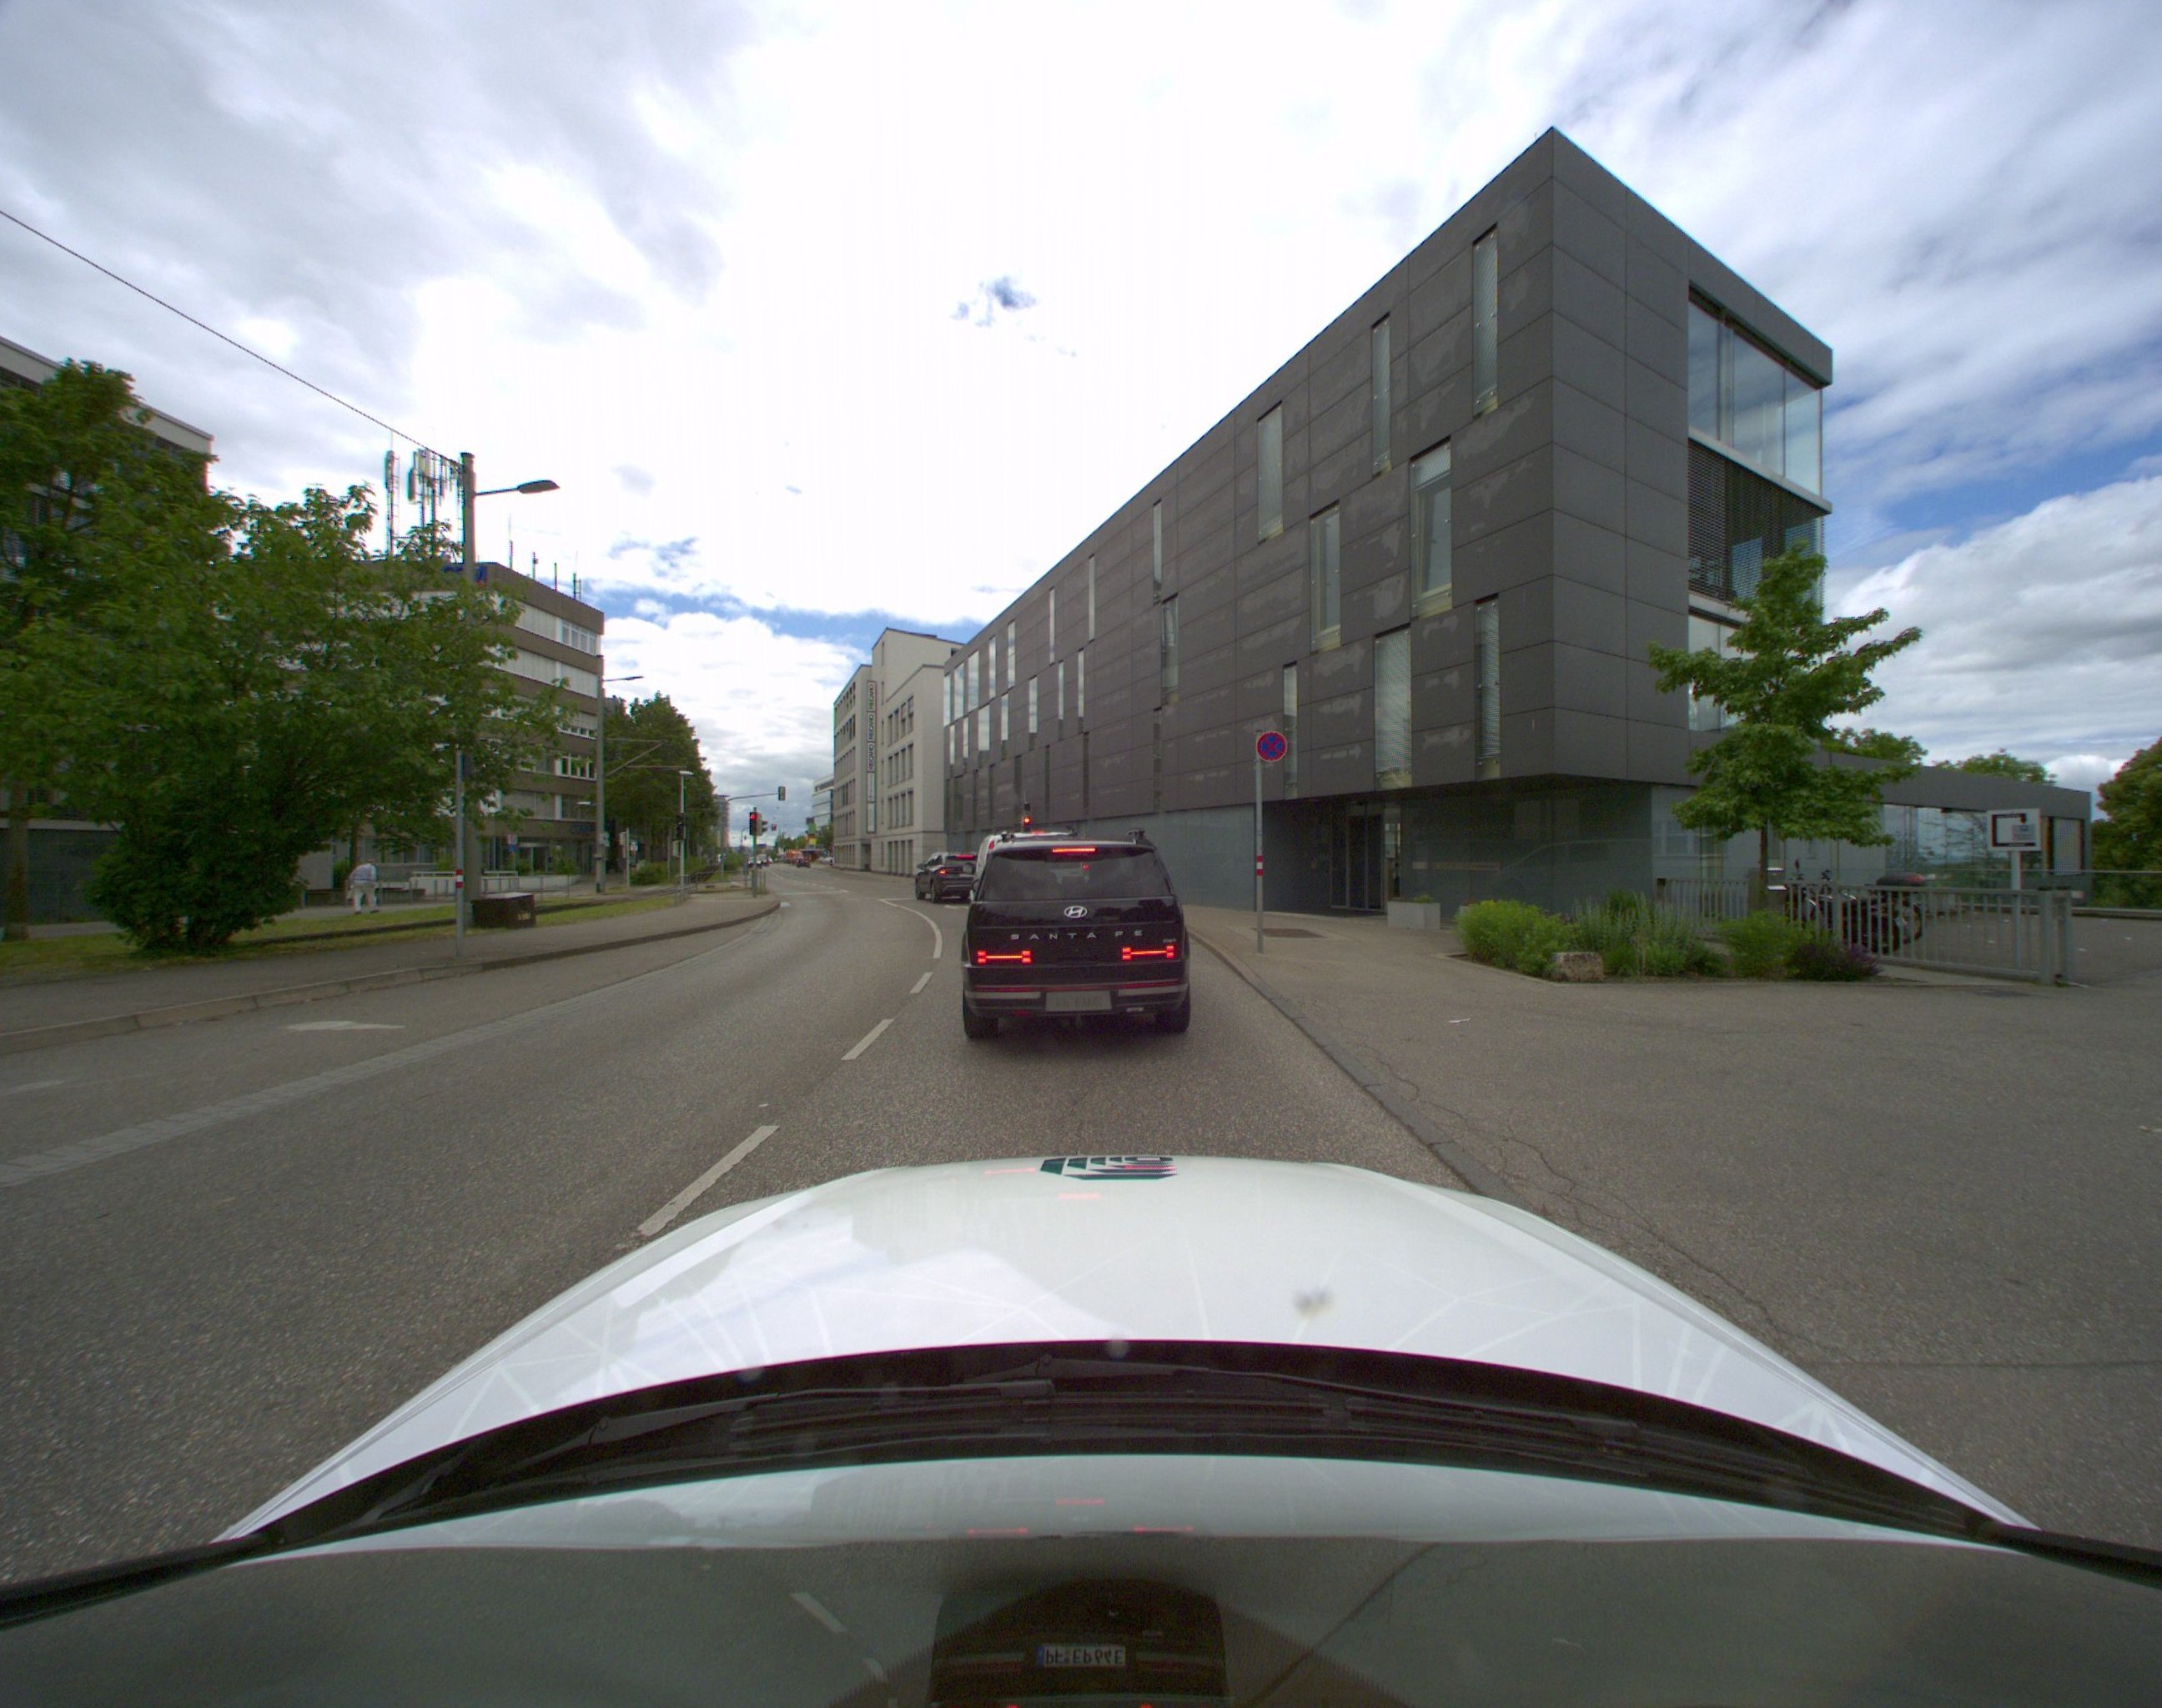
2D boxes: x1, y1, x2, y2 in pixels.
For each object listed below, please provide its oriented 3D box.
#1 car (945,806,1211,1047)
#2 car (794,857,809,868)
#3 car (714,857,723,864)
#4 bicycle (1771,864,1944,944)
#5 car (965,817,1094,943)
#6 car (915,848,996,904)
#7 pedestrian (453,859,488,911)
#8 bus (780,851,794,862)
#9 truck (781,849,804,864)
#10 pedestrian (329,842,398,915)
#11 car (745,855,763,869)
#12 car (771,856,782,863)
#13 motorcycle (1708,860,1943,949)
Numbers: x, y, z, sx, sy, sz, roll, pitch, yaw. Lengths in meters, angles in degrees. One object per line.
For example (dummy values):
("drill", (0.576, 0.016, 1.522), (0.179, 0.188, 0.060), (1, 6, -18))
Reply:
("car", (-0.054, 0.536, 8.040), (1.910, 1.725, 4.168), (1, 0, -1))
("car", (-41.421, 1.243, 120.942), (1.903, 1.486, 3.978), (0, 0, -16))
("car", (-99.125, 1.786, 222.642), (1.927, 1.725, 4.131), (1, 0, -30))
("bicycle", (13.345, 0.811, 14.081), (0.617, 1.260, 2.085), (0, 0, -25))
("car", (-1.141, 0.405, 15.556), (1.856, 2.033, 4.420), (-1, 0, -12))
("car", (-4.311, 0.696, 27.410), (1.854, 1.677, 4.344), (-1, 0, -21))
("pedestrian", (-24.311, 1.210, 32.445), (0.768, 2.014, 0.885), (3, -1, -17))
("bus", (-81.436, 0.718, 225.533), (3.096, 2.928, 10.262), (1, 0, -24))
("truck", (-55.295, 0.455, 155.950), (2.592, 2.825, 6.915), (0, 0, -35))
("pedestrian", (-20.508, 0.684, 23.306), (1.048, 2.014, 0.914), (2, -1, 2))
("car", (-42.047, 1.036, 104.577), (1.861, 1.695, 3.966), (0, 0, -26))
("car", (-74.911, 1.322, 200.120), (1.927, 1.725, 4.131), (1, 0, -30))
("motorcycle", (11.811, 0.730, 13.086), (0.850, 1.260, 2.672), (0, 0, -25))
